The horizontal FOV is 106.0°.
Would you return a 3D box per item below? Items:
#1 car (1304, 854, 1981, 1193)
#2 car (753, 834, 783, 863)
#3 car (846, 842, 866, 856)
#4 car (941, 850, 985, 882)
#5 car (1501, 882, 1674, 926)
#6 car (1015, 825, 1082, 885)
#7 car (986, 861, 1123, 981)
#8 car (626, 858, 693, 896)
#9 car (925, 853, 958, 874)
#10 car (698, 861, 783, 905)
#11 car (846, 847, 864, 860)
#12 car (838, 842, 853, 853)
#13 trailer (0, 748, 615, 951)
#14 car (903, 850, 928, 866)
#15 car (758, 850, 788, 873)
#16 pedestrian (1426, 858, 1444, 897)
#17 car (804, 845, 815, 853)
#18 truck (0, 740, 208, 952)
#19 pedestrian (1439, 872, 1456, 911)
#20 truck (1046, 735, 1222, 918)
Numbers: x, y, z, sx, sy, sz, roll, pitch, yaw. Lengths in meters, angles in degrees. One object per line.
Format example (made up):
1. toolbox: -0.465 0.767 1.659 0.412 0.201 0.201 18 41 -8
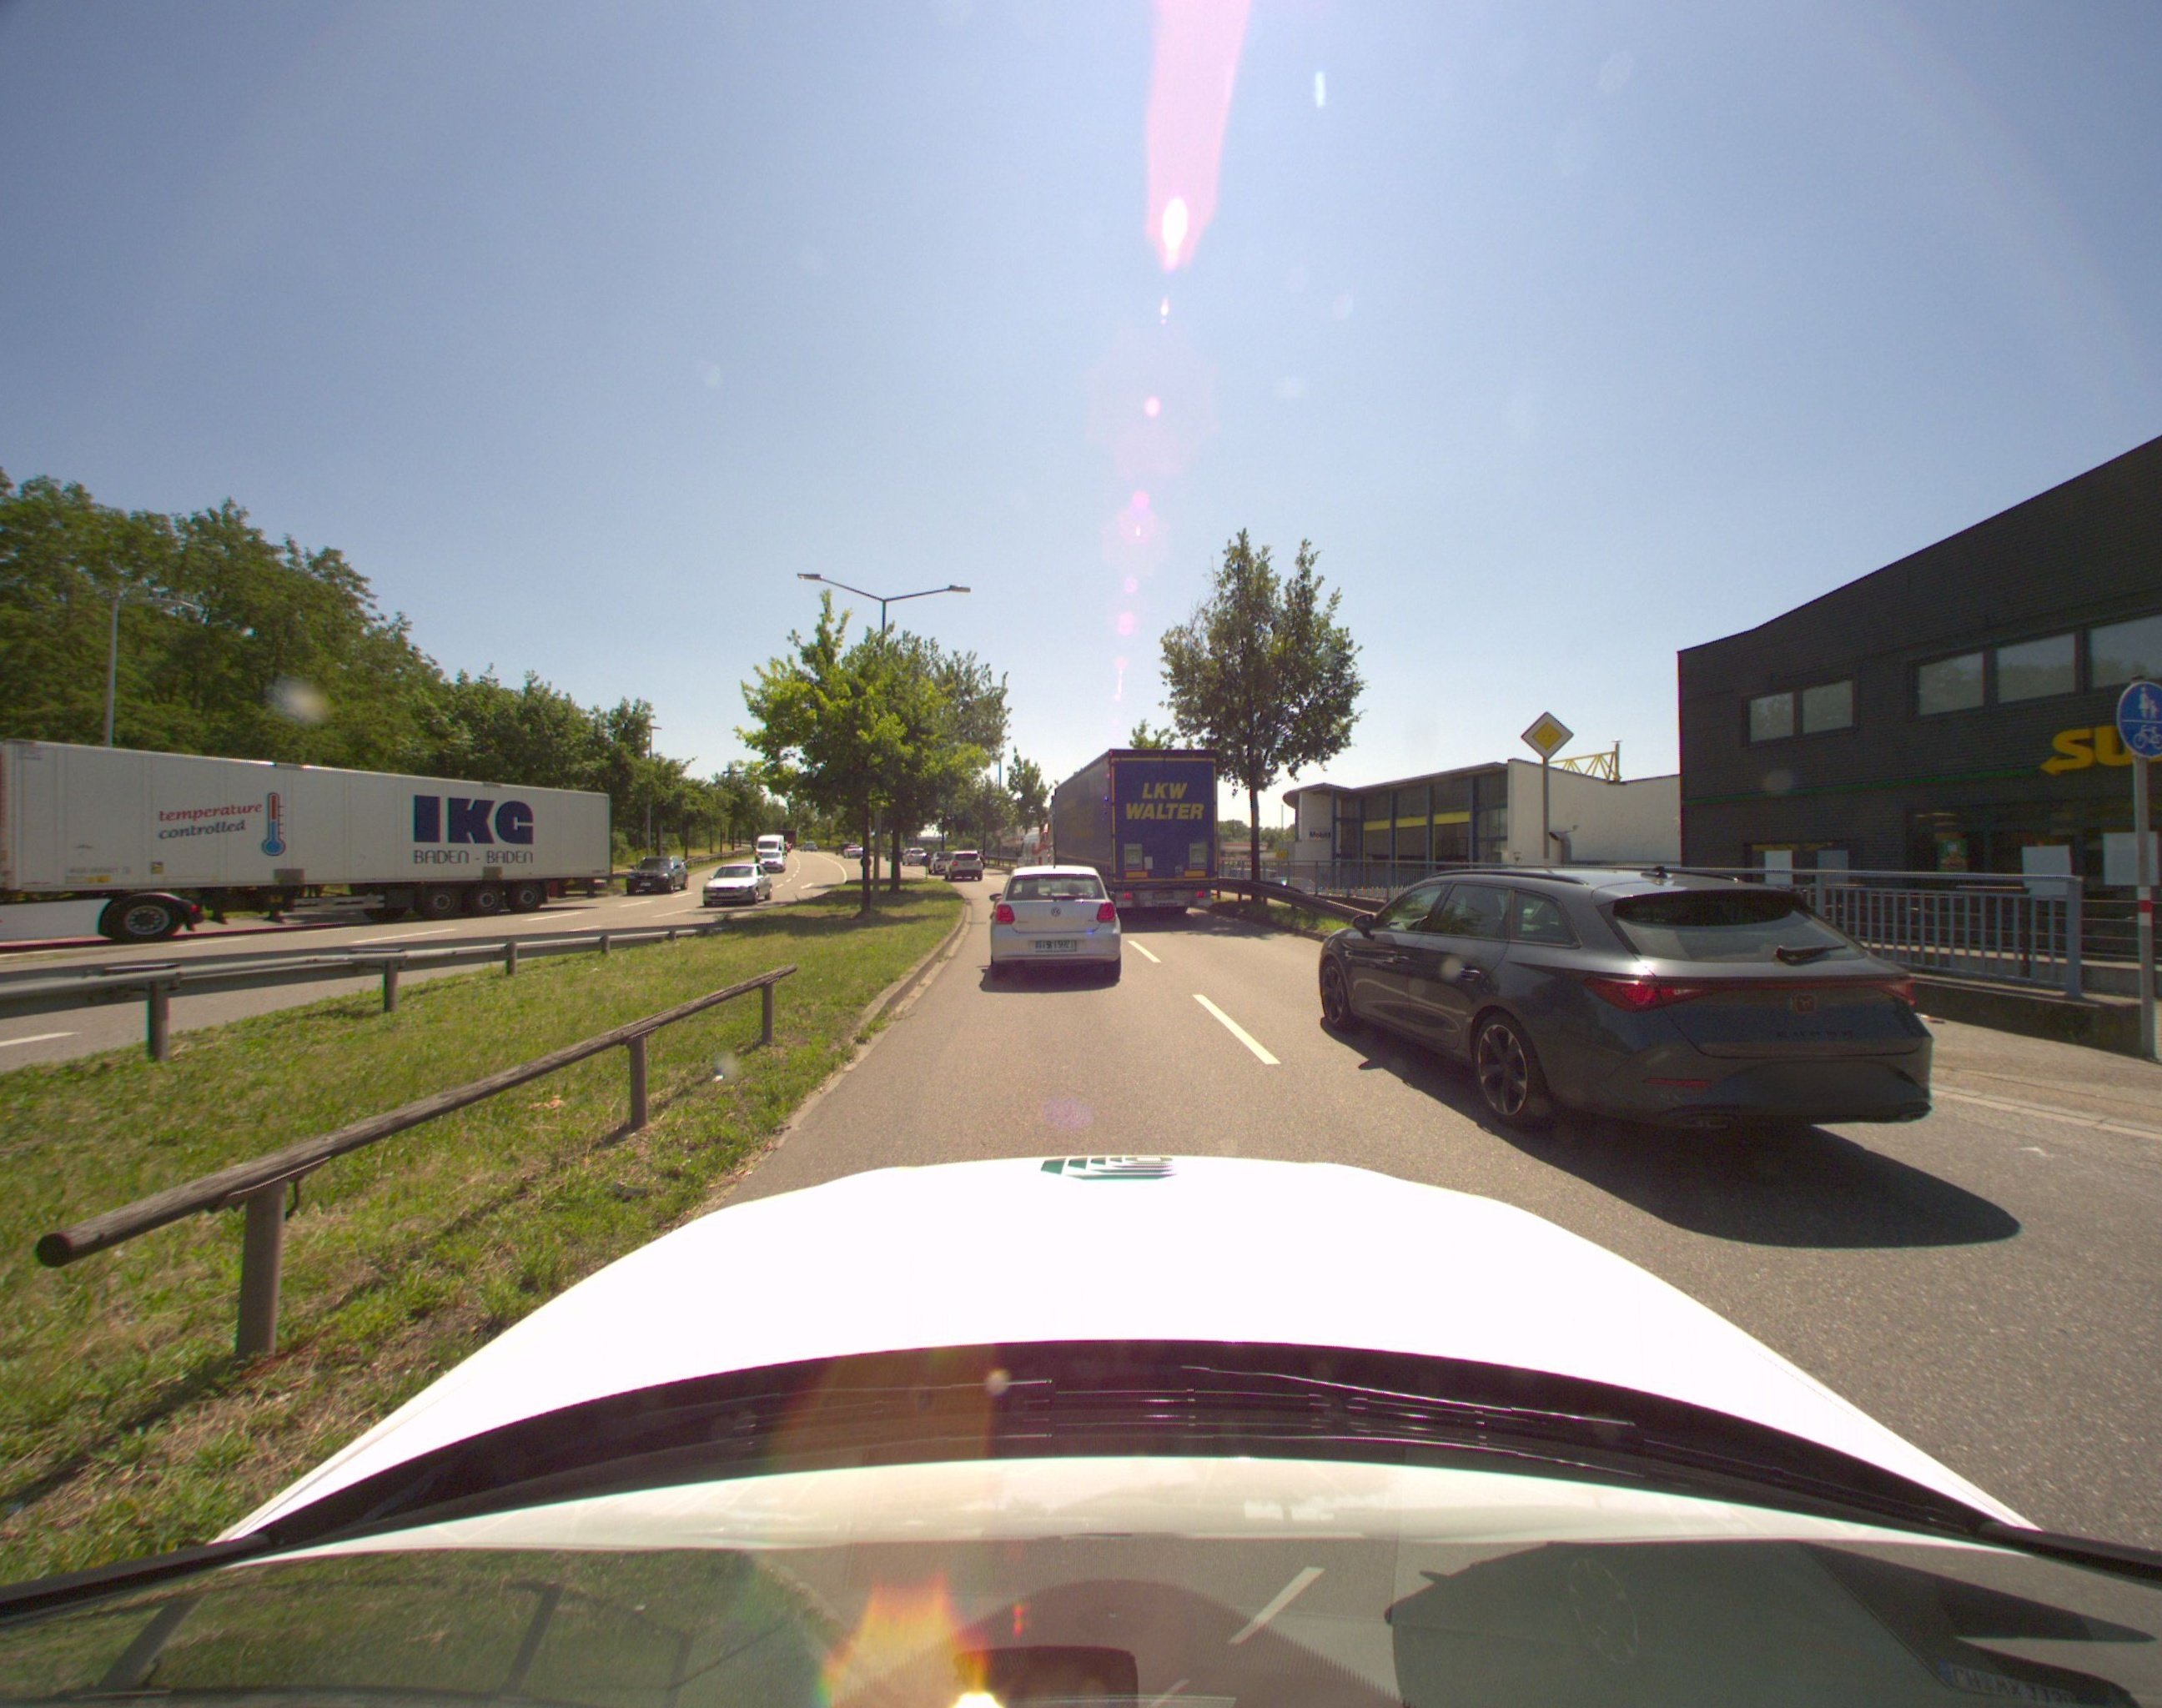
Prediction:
1. car: 3.074 0.759 5.695 1.602 1.456 4.228 0 -1 -4
2. car: -28.597 -0.513 74.499 2.099 2.500 5.777 -1 1 -17
3. car: -25.037 -0.515 90.633 1.672 1.465 3.553 0 -1 -23
4. car: -6.799 0.686 46.689 1.908 1.718 4.199 0 -1 -17
5. car: 17.640 1.697 28.682 5.018 1.358 2.012 0 -1 29
6. car: -1.824 -0.008 42.602 2.179 2.900 6.326 1 1 -15
7. car: -0.338 0.829 11.552 1.641 1.439 3.535 0 -1 -1
8. car: -19.372 1.025 37.578 1.489 1.633 4.457 0 -1 -10
9. car: -9.275 0.598 53.994 1.499 1.360 3.638 0 0 -20
10. car: -11.941 0.986 28.846 1.632 1.403 4.212 -1 -1 -6
11. car: -25.153 -0.041 90.567 1.463 1.314 3.610 0 -1 -23
12. car: -29.251 -0.831 100.980 1.423 1.314 3.312 0 -1 -23
13. trailer: -19.438 -0.168 22.764 2.989 4.050 12.755 0 1 15
14. car: -14.228 0.309 69.732 1.613 1.360 3.638 0 0 -20
15. car: -22.023 0.526 58.335 1.637 1.567 4.051 -1 -1 -15
16. pedestrian: 15.822 1.042 36.413 0.521 1.703 0.486 0 -1 -10
17. car: -39.725 -0.679 119.143 1.327 1.139 2.971 0 -1 -23
18. truck: -21.804 -0.150 15.742 2.519 4.022 6.309 -1 -1 32
19. pedestrian: 16.196 1.643 35.958 0.426 1.703 0.587 0 -1 -11
20. truck: 0.907 -0.620 27.002 2.830 4.198 16.433 0 0 -7
